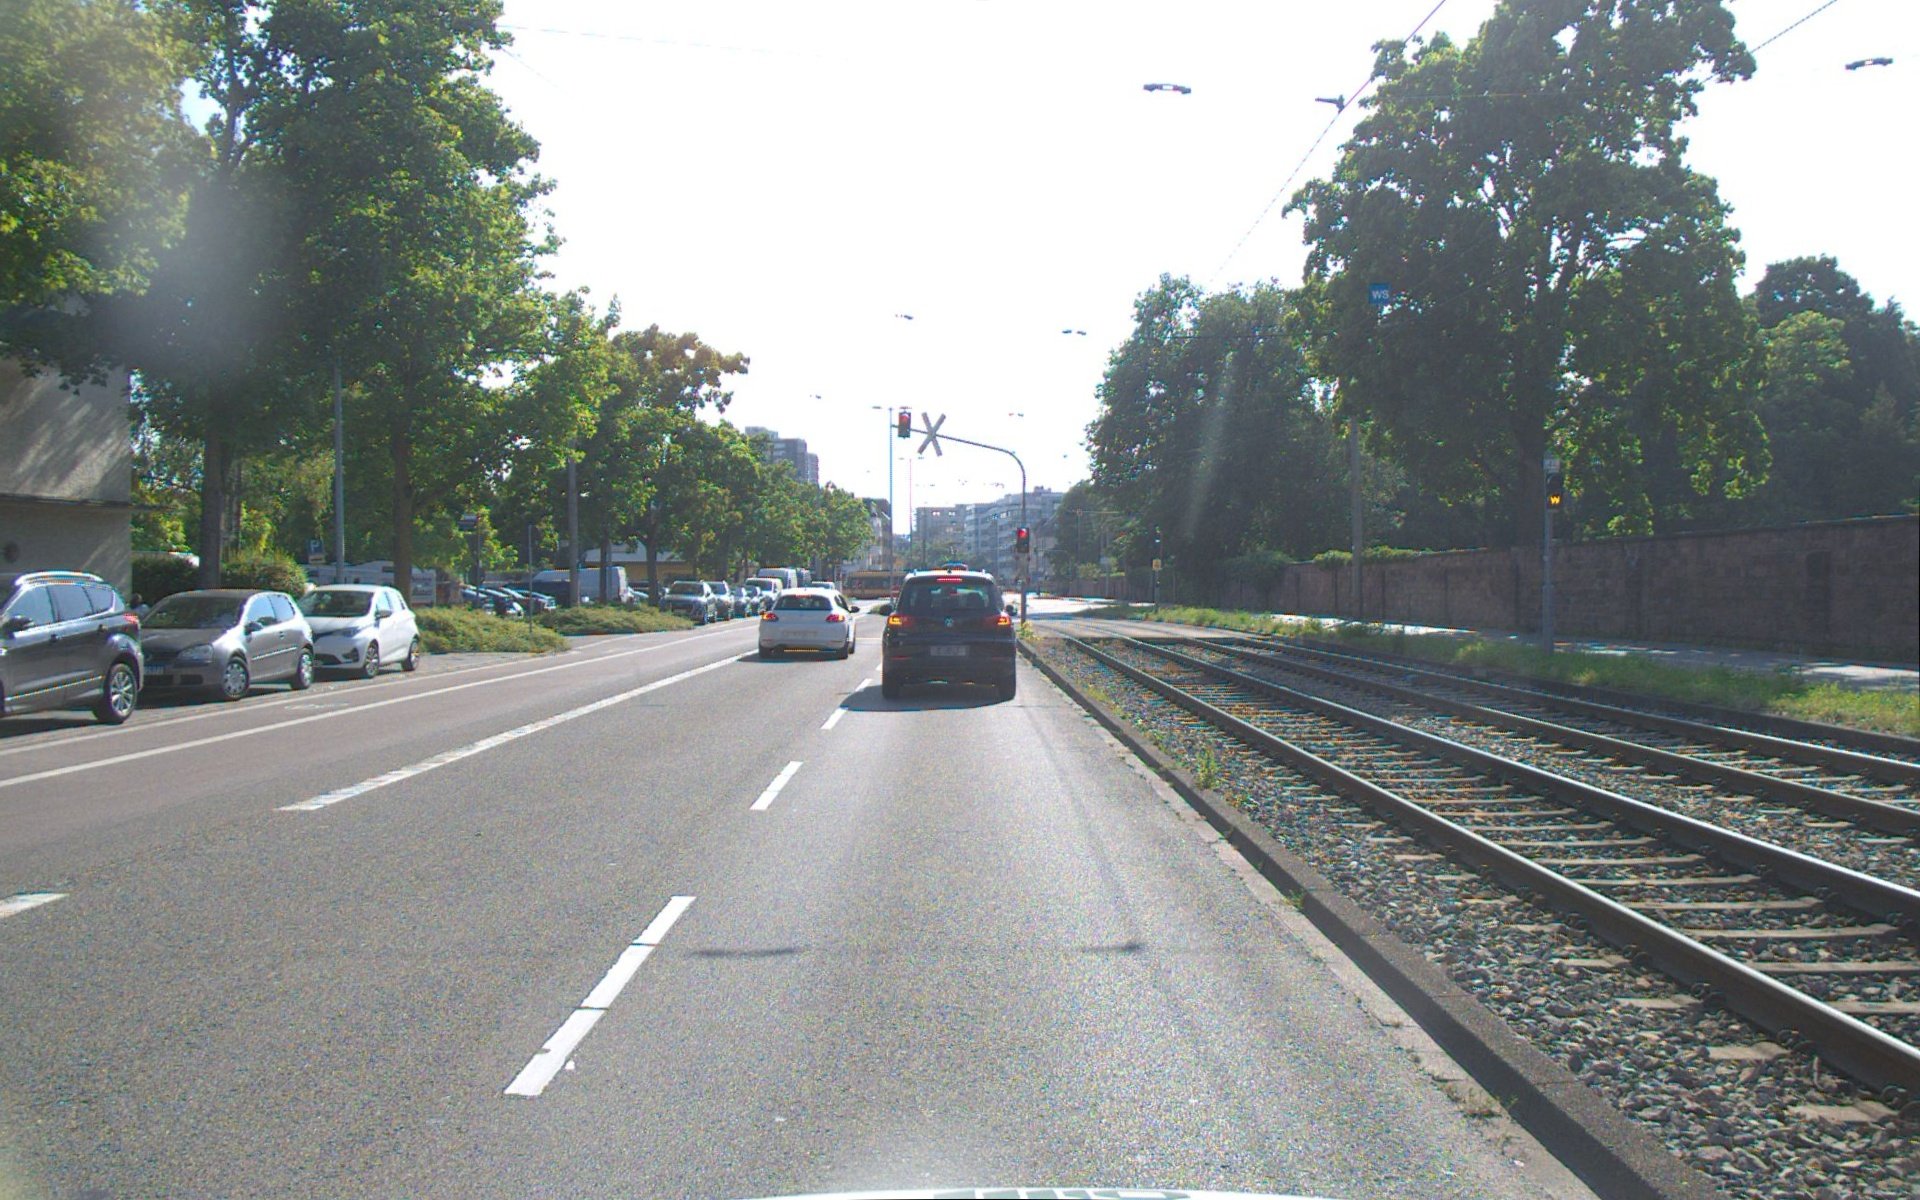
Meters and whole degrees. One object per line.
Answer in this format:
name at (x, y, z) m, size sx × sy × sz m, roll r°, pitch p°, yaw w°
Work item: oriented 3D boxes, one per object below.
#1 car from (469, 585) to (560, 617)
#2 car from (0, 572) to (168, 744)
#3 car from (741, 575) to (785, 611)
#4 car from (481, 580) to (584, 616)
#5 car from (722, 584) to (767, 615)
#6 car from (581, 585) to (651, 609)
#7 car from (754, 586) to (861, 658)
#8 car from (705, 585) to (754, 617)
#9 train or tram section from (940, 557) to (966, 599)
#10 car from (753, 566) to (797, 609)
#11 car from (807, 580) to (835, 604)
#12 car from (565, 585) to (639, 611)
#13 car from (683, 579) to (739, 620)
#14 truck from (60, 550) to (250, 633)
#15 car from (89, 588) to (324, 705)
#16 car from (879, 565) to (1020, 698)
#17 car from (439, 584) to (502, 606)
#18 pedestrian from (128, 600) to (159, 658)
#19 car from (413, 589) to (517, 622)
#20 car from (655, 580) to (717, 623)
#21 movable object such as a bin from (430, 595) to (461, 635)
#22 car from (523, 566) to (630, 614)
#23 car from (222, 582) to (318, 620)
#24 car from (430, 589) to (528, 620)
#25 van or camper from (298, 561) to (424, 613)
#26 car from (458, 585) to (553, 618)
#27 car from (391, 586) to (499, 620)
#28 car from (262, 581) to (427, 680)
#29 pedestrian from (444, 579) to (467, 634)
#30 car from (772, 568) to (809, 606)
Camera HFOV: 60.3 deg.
car at (-21.280, 0.037, 79.069) m, size 3.908 × 1.422 × 1.736 m, roll -1°, pitch 1°, yaw -4°
car at (-10.476, 0.573, 17.873) m, size 1.677 × 1.723 × 4.422 m, roll 0°, pitch 1°, yaw 0°
car at (-10.663, -0.387, 89.689) m, size 1.696 × 1.892 × 4.490 m, roll -1°, pitch 1°, yaw 1°
car at (-21.004, -0.115, 81.458) m, size 4.525 × 1.680 × 2.048 m, roll -1°, pitch 1°, yaw -2°
car at (-10.962, -0.053, 84.370) m, size 1.696 × 1.475 × 3.736 m, roll -1°, pitch 1°, yaw 1°
car at (-20.860, -0.186, 100.382) m, size 3.908 × 1.422 × 1.736 m, roll -1°, pitch 1°, yaw -4°
car at (-3.079, 0.415, 34.153) m, size 1.826 × 1.371 × 4.000 m, roll 0°, pitch 1°, yaw 0°
car at (-10.926, 0.028, 78.485) m, size 1.696 × 1.413 × 3.736 m, roll -1°, pitch 1°, yaw 1°
train or tram section at (-0.624, -1.941, 148.924) m, size 2.279 × 3.632 × 8.900 m, roll -1°, pitch 1°, yaw 0°
car at (-10.740, -0.731, 96.362) m, size 1.825 × 2.388 × 4.986 m, roll -1°, pitch 1°, yaw 1°
car at (-10.569, -0.623, 126.224) m, size 1.696 × 1.724 × 4.001 m, roll -1°, pitch 1°, yaw 1°
car at (-20.532, -0.130, 94.912) m, size 3.908 × 1.422 × 1.736 m, roll -1°, pitch 1°, yaw -4°
car at (-10.836, -0.049, 72.174) m, size 1.696 × 1.724 × 4.001 m, roll -1°, pitch 1°, yaw 1°
truck at (-33.516, -0.363, 68.996) m, size 6.822 × 3.298 × 1.987 m, roll -1°, pitch 0°, yaw -2°
car at (-10.598, 0.593, 23.577) m, size 1.643 × 1.494 × 3.967 m, roll 0°, pitch 1°, yaw -2°
car at (-0.130, 0.390, 22.971) m, size 1.774 × 1.673 × 4.000 m, roll 0°, pitch 0°, yaw 0°
car at (-33.825, -0.368, 114.368) m, size 3.908 × 1.422 × 1.736 m, roll -1°, pitch 1°, yaw -4°
pedestrian at (-17.642, 0.633, 35.746) m, size 0.435 × 1.238 × 0.391 m, roll -1°, pitch 0°, yaw 8°
car at (-21.094, 0.216, 70.603) m, size 3.908 × 1.330 × 1.736 m, roll -1°, pitch 1°, yaw -4°
car at (-11.003, 0.028, 66.616) m, size 1.696 × 1.686 × 4.001 m, roll -1°, pitch 1°, yaw 1°
movable object such as a bin at (-15.575, 0.454, 50.112) m, size 0.531 × 1.166 × 1.261 m, roll -1°, pitch 1°, yaw 0°
car at (-20.736, -0.551, 89.480) m, size 5.265 × 2.466 × 2.087 m, roll -1°, pitch 0°, yaw 0°
car at (-32.987, 0.047, 79.109) m, size 3.911 × 1.758 × 1.624 m, roll -1°, pitch 1°, yaw -7°
car at (-21.458, 0.184, 73.887) m, size 3.908 × 1.330 × 1.736 m, roll -1°, pitch 1°, yaw -4°
van or camper at (-34.042, -0.731, 94.107) m, size 6.331 × 2.918 × 2.307 m, roll 0°, pitch 0°, yaw 0°
car at (-20.896, 0.066, 76.109) m, size 3.908 × 1.422 × 1.736 m, roll -1°, pitch 1°, yaw -4°
car at (-21.147, 0.128, 68.010) m, size 3.908 × 1.330 × 1.736 m, roll -1°, pitch 1°, yaw -4°
car at (-10.750, 0.480, 29.169) m, size 1.568 × 1.577 × 3.893 m, roll 1°, pitch 1°, yaw -3°
pedestrian at (-15.570, 0.193, 51.044) m, size 0.514 × 1.656 × 0.610 m, roll -1°, pitch 0°, yaw 0°
car at (-10.546, -0.844, 103.191) m, size 1.696 × 2.308 × 4.646 m, roll -1°, pitch 1°, yaw 1°
